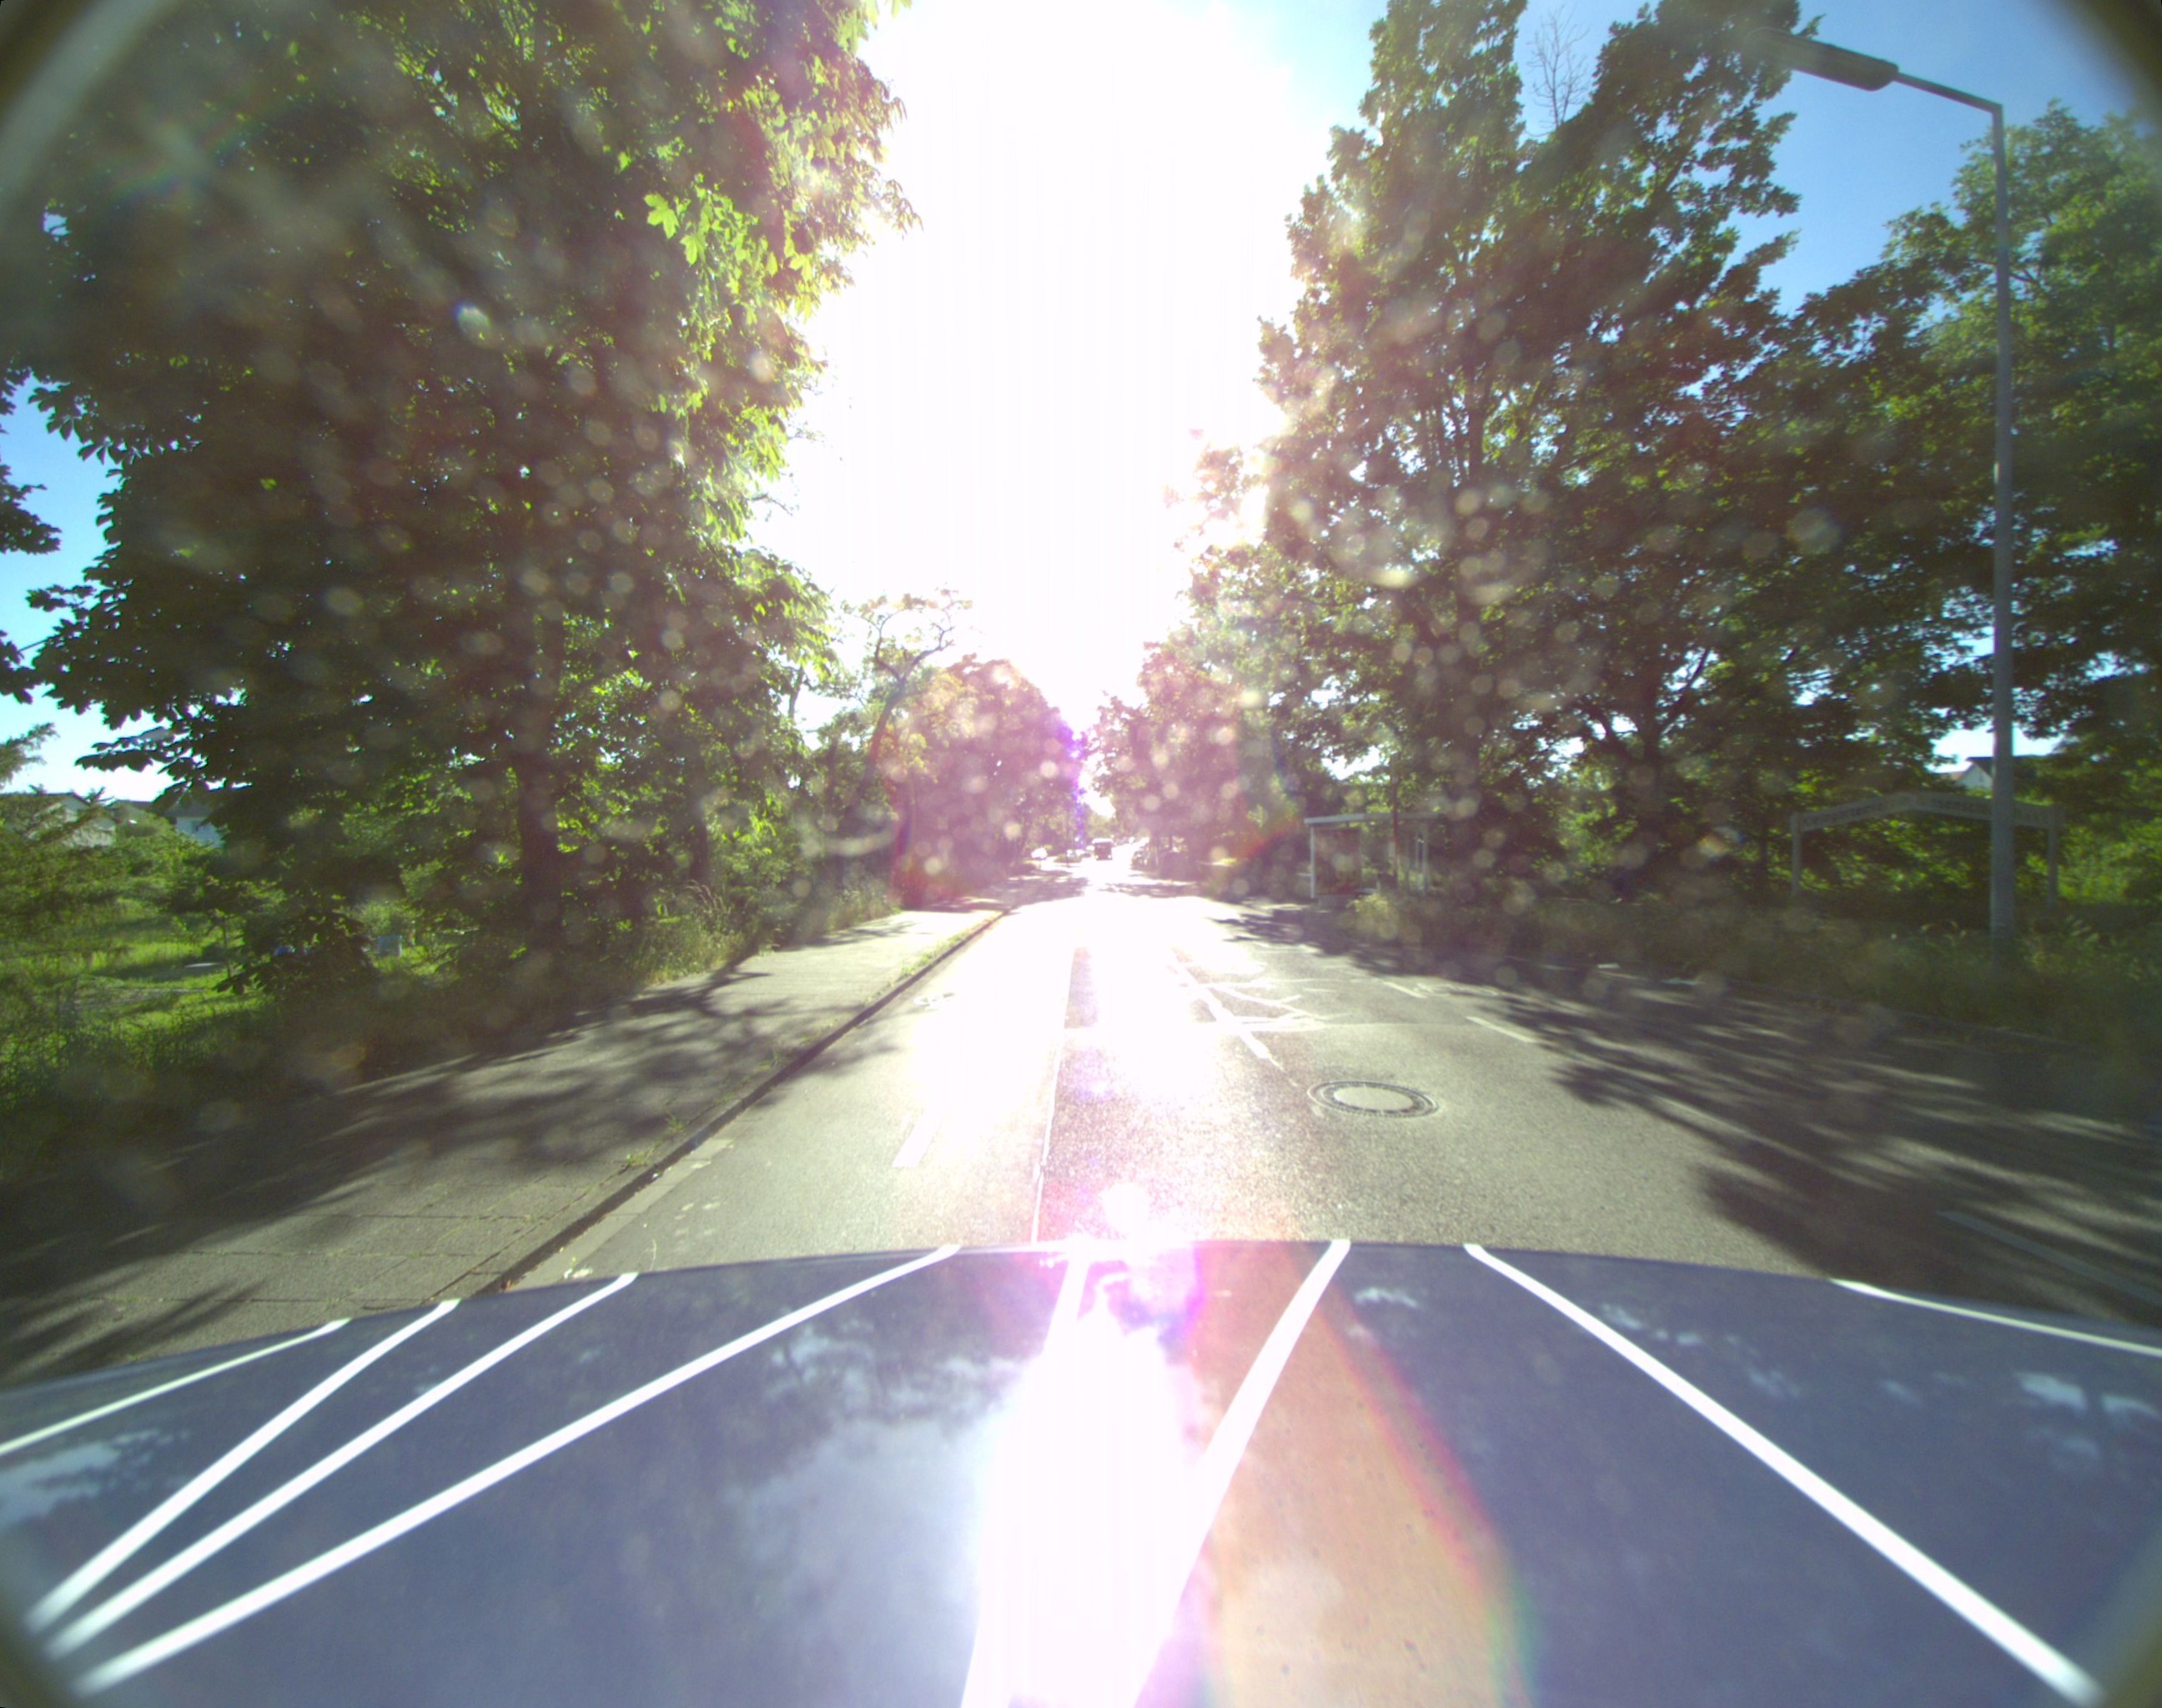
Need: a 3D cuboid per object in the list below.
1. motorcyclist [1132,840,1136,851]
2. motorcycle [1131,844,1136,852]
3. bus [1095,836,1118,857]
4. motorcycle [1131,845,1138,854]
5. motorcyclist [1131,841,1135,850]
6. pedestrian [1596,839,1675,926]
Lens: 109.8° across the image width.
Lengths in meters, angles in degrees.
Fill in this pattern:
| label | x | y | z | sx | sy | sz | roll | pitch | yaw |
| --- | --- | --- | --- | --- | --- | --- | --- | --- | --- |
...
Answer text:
| label | x | y | z | sx | sy | sz | roll | pitch | yaw |
| --- | --- | --- | --- | --- | --- | --- | --- | --- | --- |
| motorcyclist | 9.554 | -1.514 | 136.877 | 0.537 | 2.002 | 0.826 | -3 | 2 | -2 |
| motorcycle | 11.308 | -1.326 | 164.950 | 0.815 | 1.624 | 2.411 | -3 | 1 | -2 |
| bus | 3.754 | -1.038 | 113.567 | 2.790 | 2.965 | 12.893 | -2 | 0 | -1 |
| motorcycle | 9.633 | -0.781 | 136.687 | 0.815 | 1.668 | 2.411 | -3 | 1 | -2 |
| motorcyclist | 11.259 | -1.903 | 164.951 | 0.640 | 2.002 | 0.739 | -3 | 2 | -2 |
| pedestrian | 11.149 | 0.559 | 15.312 | 0.915 | 1.678 | 0.891 | -2 | 0 | 2 |
